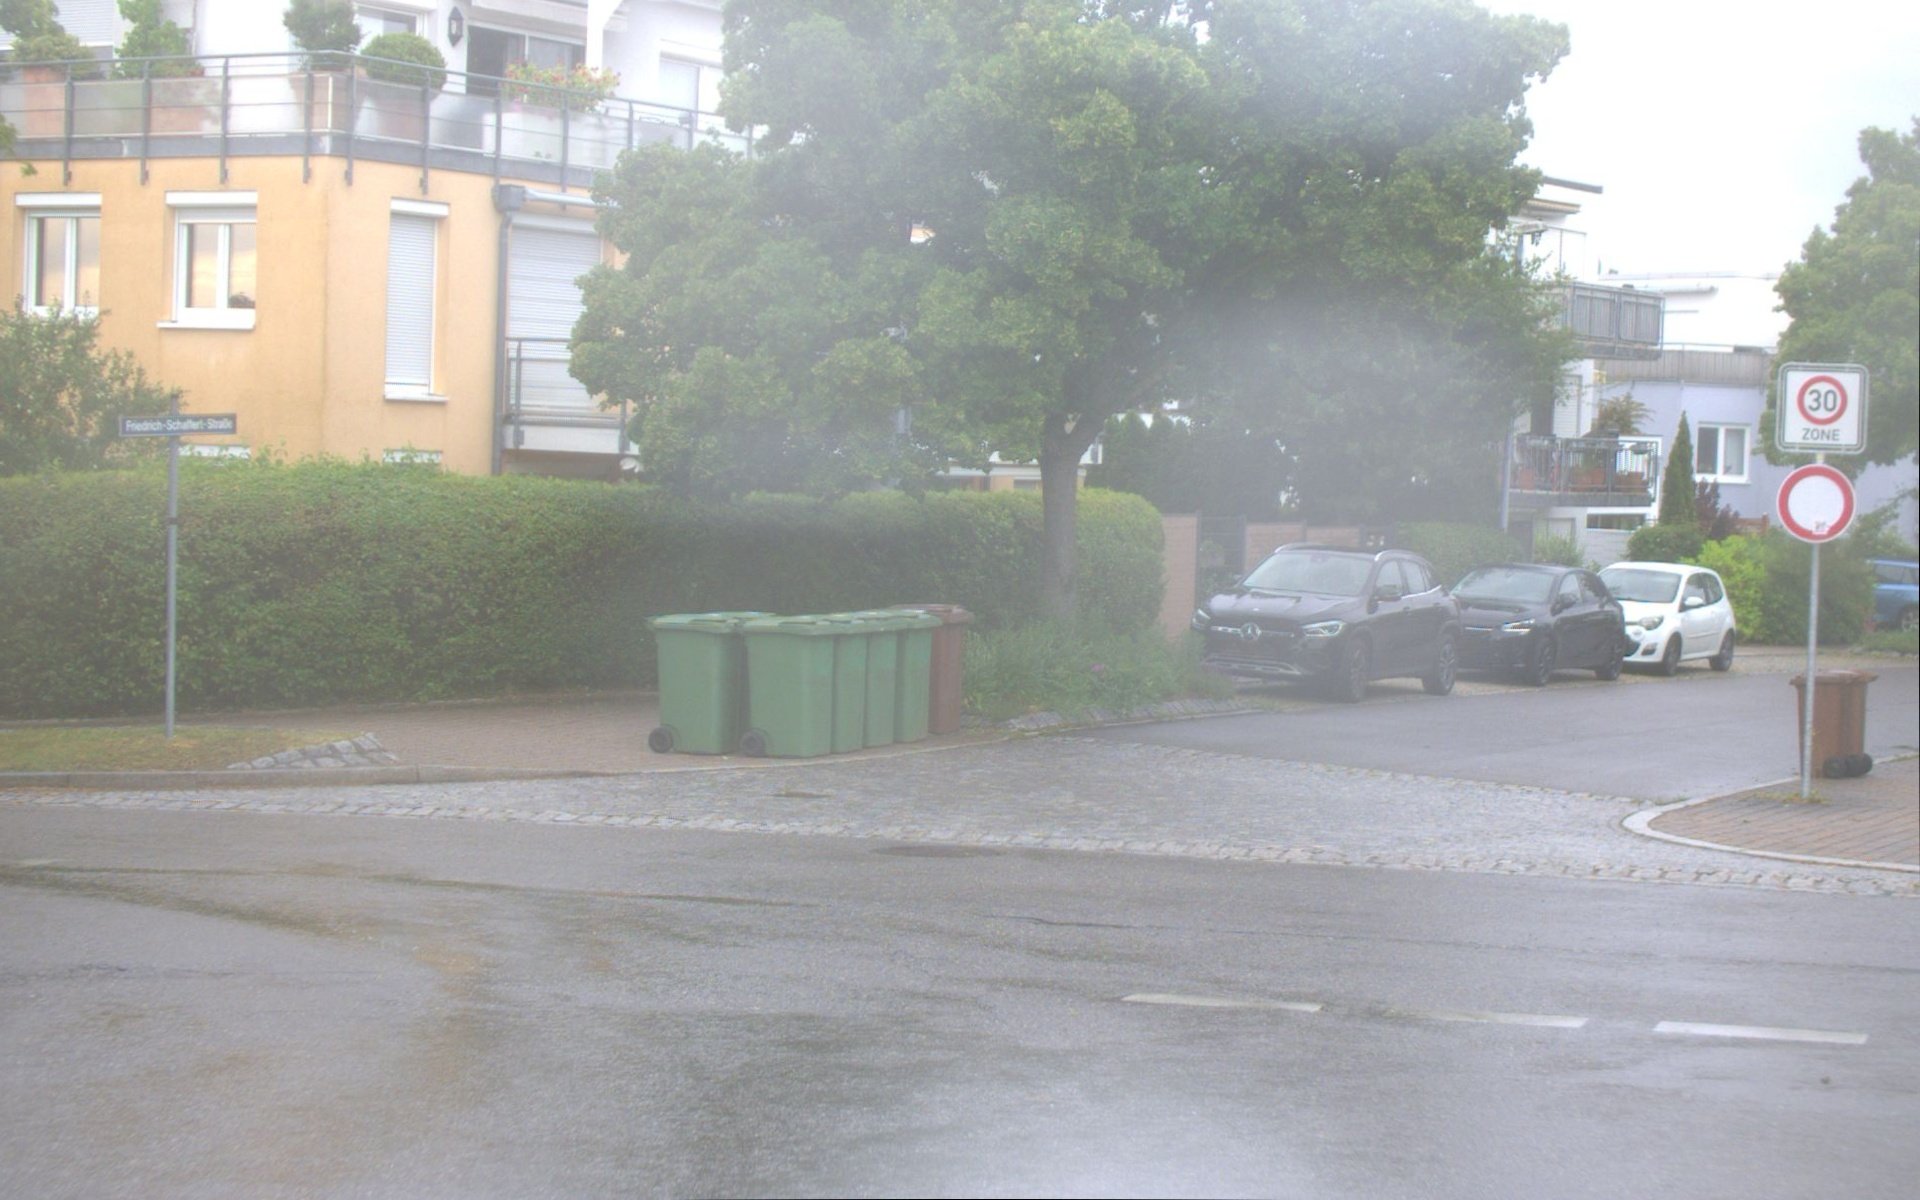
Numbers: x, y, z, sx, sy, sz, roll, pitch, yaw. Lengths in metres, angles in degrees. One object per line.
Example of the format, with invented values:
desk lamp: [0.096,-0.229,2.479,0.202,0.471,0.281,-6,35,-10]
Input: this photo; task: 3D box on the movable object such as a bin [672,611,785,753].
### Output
movable object such as a bin: [-1.828,0.644,27.186,0.695,1.068,0.597,2,2,20]

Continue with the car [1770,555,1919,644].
car: [18.147,0.015,67.496,3.992,1.562,1.906,3,1,25]

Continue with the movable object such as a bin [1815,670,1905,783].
movable object such as a bin: [7.795,1.086,29.773,0.571,0.928,0.529,3,1,33]

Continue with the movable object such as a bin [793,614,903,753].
movable object such as a bin: [-0.895,0.660,27.538,0.695,1.063,0.578,2,2,20]

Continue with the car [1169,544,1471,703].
car: [3.993,0.227,37.590,1.778,1.513,4.131,5,2,28]

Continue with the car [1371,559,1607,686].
car: [6.630,0.263,42.863,1.638,1.404,3.599,5,3,30]

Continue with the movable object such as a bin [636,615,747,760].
movable object such as a bin: [-2.076,0.670,26.614,0.666,1.070,0.543,2,2,21]

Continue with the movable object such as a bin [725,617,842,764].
movable object such as a bin: [-1.352,0.689,26.385,0.695,1.071,0.601,2,2,20]

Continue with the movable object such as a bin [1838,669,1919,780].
movable object such as a bin: [8.116,1.089,30.254,0.571,0.928,0.529,3,1,33]

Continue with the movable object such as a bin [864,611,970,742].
movable object such as a bin: [-0.357,0.632,28.813,0.695,1.051,0.605,2,2,20]

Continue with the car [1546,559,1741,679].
car: [9.408,0.247,47.178,1.513,1.471,3.268,5,3,31]

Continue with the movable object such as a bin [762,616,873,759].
movable object such as a bin: [-1.114,0.678,26.958,0.695,1.071,0.543,2,2,20]

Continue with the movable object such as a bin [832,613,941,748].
movable object such as a bin: [-0.598,0.650,28.102,0.695,1.051,0.605,2,2,20]
